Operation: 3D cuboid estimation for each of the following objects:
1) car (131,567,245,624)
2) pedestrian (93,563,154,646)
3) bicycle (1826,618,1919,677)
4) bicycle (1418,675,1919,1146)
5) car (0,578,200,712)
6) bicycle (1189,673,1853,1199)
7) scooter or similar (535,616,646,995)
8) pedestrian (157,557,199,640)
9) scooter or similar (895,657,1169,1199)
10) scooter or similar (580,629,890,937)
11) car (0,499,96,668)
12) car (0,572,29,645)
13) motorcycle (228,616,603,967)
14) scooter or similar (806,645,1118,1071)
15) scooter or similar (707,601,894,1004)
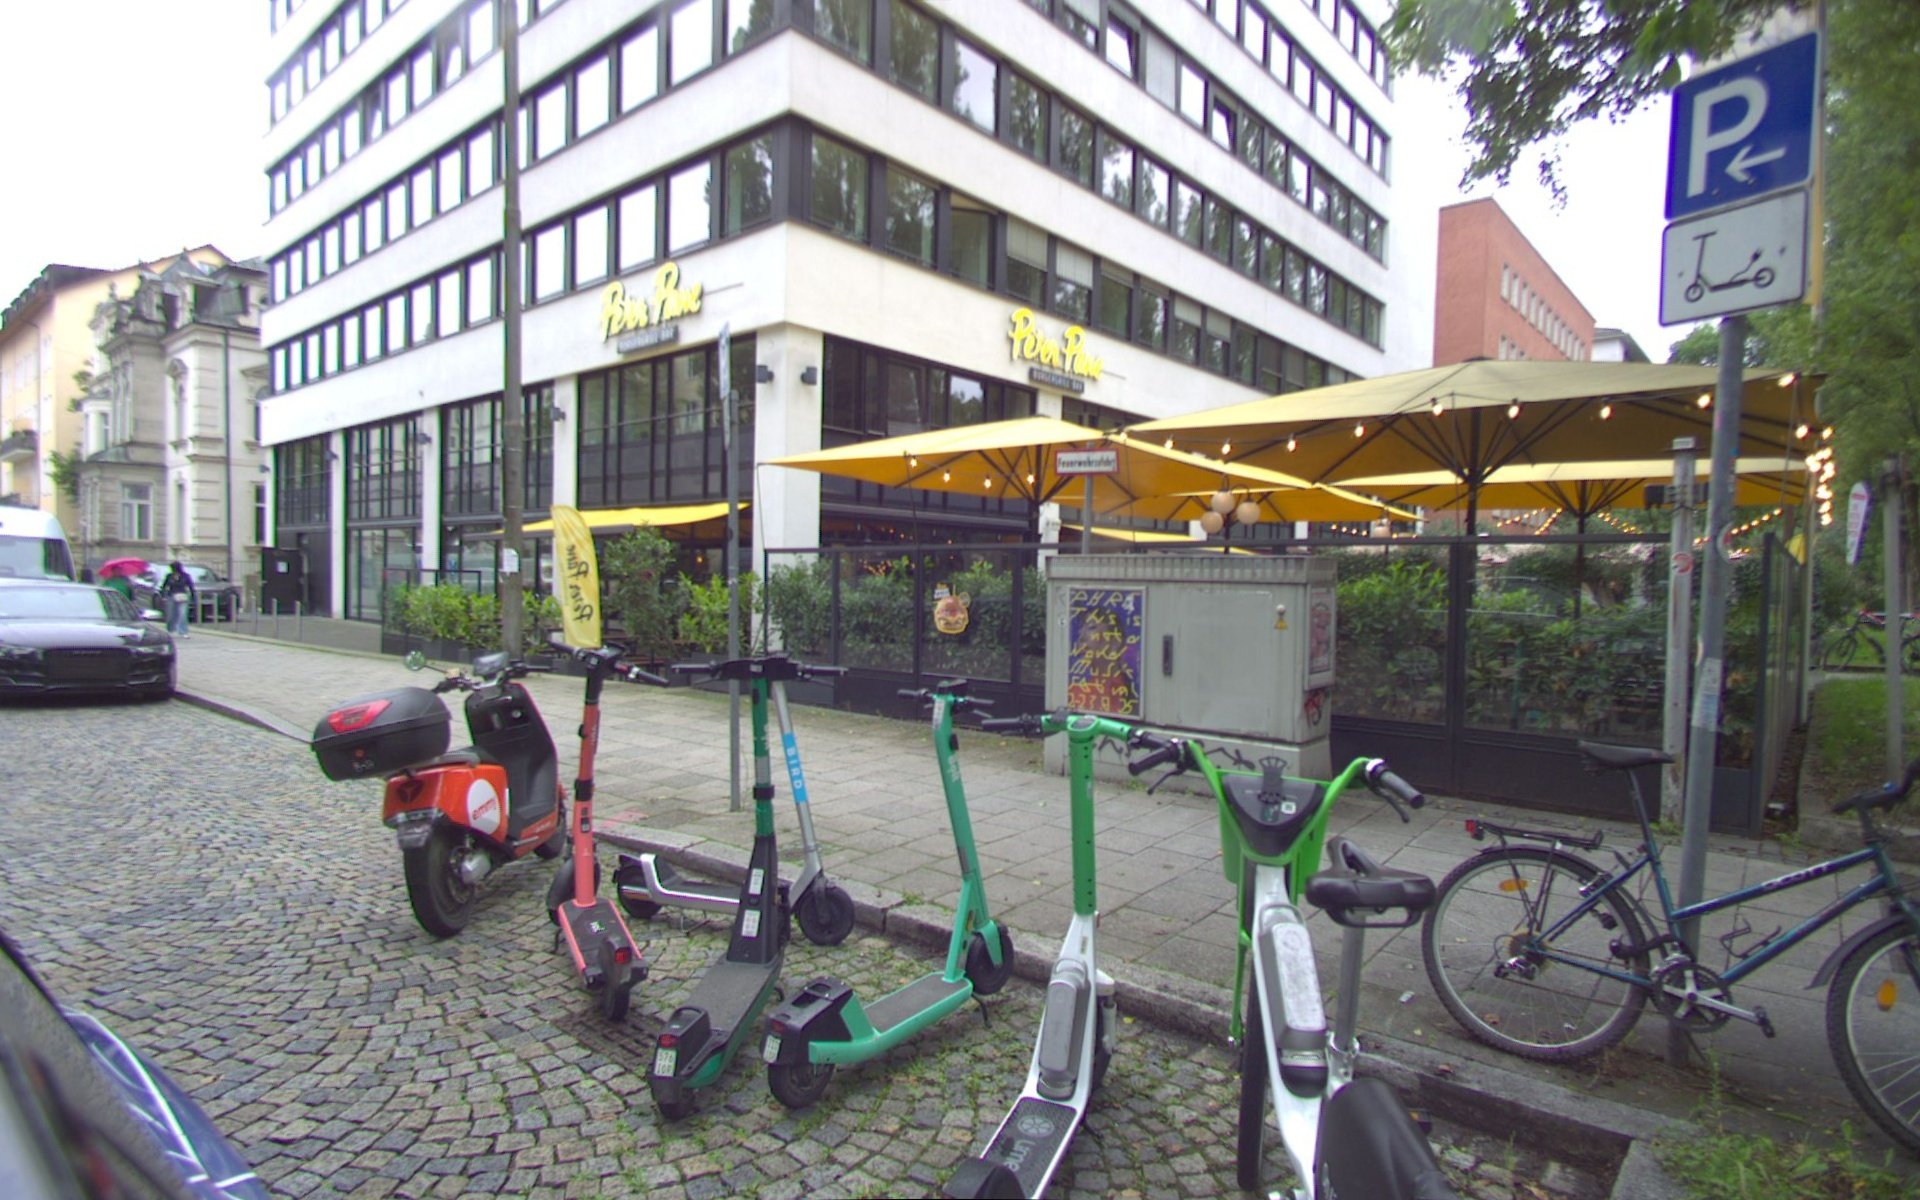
[{"bbox_3d":[-22.737,-0.185,29.751,4.168,1.544,1.888,2,1,41],"label":"car"},{"bbox_3d":[-17.793,0.080,21.520,0.800,1.719,0.916,2,1,43],"label":"pedestrian"},{"bbox_3d":[15.786,0.800,17.037,1.800,0.919,0.612,2,1,39],"label":"bicycle"},{"bbox_3d":[2.309,0.808,2.851,1.761,1.030,0.546,2,2,40],"label":"bicycle"},{"bbox_3d":[-11.013,0.435,12.376,4.115,1.340,1.972,2,1,42],"label":"car"},{"bbox_3d":[0.789,0.805,1.970,0.548,1.151,1.757,1,1,10],"label":"bicycle"},{"bbox_3d":[-1.515,0.736,4.252,0.322,1.282,1.362,0,1,-15],"label":"scooter or similar"},{"bbox_3d":[-16.920,-0.050,21.894,0.649,1.761,0.568,2,1,37],"label":"pedestrian"},{"bbox_3d":[0.261,0.775,2.521,0.366,1.152,1.422,1,1,17],"label":"scooter or similar"},{"bbox_3d":[-0.952,0.739,4.331,1.237,1.189,0.389,1,1,10],"label":"scooter or similar"},{"bbox_3d":[-16.452,-0.316,16.967,5.844,2.509,2.039,2,1,40],"label":"car"},{"bbox_3d":[-20.979,0.131,21.127,4.000,1.441,1.972,2,1,43],"label":"car"},{"bbox_3d":[-2.353,0.724,4.718,0.760,1.205,1.992,1,1,-3],"label":"motorcycle"},{"bbox_3d":[0.060,0.766,3.464,0.327,1.152,1.234,2,1,41],"label":"scooter or similar"},{"bbox_3d":[-0.567,0.661,3.936,0.324,1.282,1.247,1,1,10],"label":"scooter or similar"}]
